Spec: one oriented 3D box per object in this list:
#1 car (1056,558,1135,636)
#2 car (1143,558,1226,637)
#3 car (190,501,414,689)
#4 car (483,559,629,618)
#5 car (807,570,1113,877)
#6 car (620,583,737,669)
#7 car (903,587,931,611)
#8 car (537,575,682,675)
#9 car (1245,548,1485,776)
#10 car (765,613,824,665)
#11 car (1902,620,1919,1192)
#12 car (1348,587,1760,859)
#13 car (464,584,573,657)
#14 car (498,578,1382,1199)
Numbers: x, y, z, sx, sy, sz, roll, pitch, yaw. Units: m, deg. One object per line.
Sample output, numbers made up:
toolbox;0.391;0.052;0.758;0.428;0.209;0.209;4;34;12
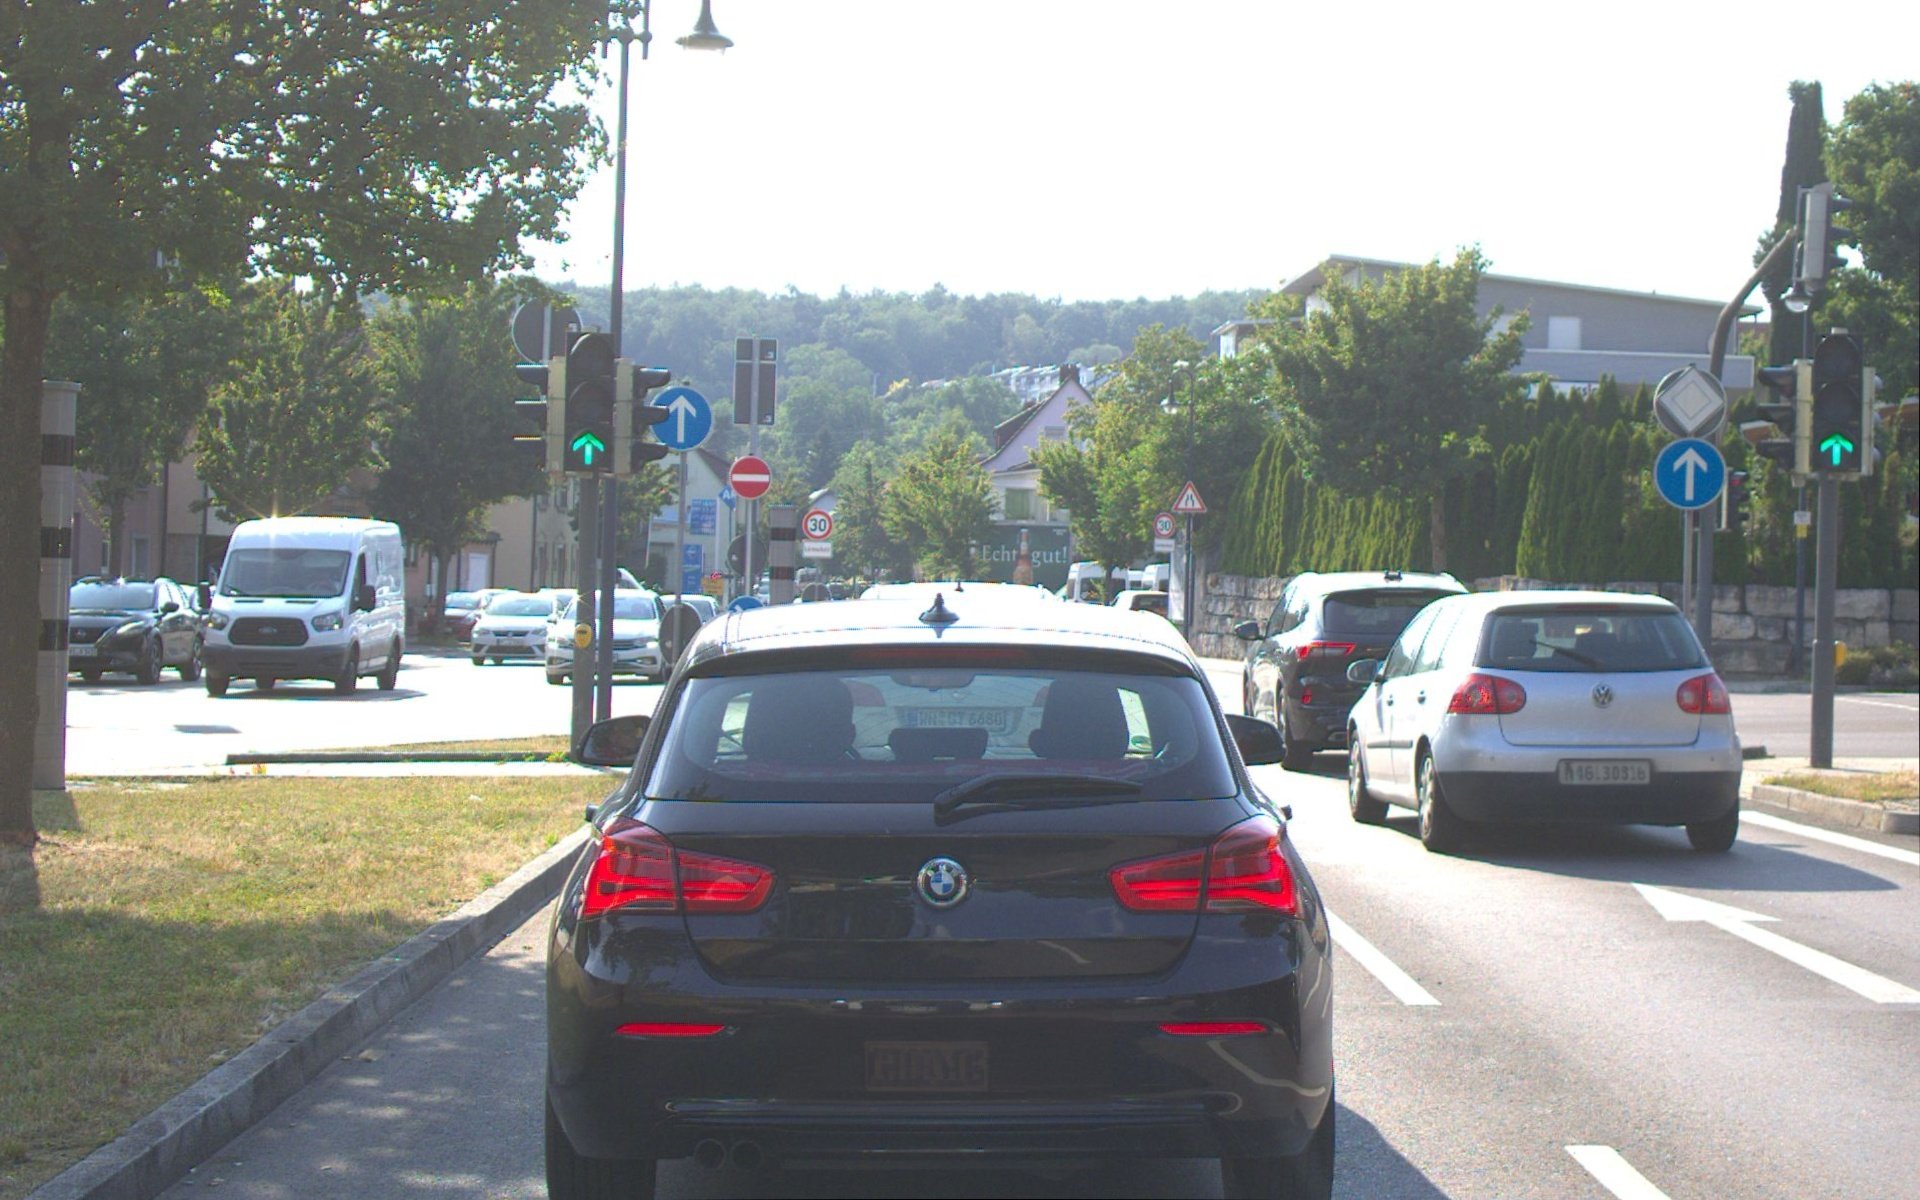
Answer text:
car;4.770;-0.132;121.969;2.149;2.671;6.604;1;1;-3
car;7.962;-0.105;122.392;2.111;2.712;6.444;1;1;-4
car;-9.169;-0.089;48.360;2.084;2.467;5.479;1;1;0
car;-17.790;-0.515;151.511;6.158;2.436;2.249;2;0;-1
car;-0.022;0.634;20.108;1.591;1.595;3.893;1;1;-1
car;-4.862;0.443;59.808;1.589;1.422;3.578;1;0;2
car;-2.723;-0.072;216.604;1.596;1.480;3.475;2;0;-3
car;-5.522;0.361;54.633;1.835;1.483;4.566;1;1;0
car;3.317;0.470;28.687;1.603;1.761;3.411;1;1;0
car;-4.962;1.161;103.362;1.532;1.457;3.506;1;1;1
car;3.181;0.757;6.232;1.699;1.364;4.262;0;1;-1
car;3.366;0.649;20.071;1.753;1.409;3.422;1;1;-1
car;-9.030;0.398;70.549;1.757;1.406;4.000;1;1;-1
car;-0.063;0.697;8.751;1.771;1.451;3.516;1;1;-1
